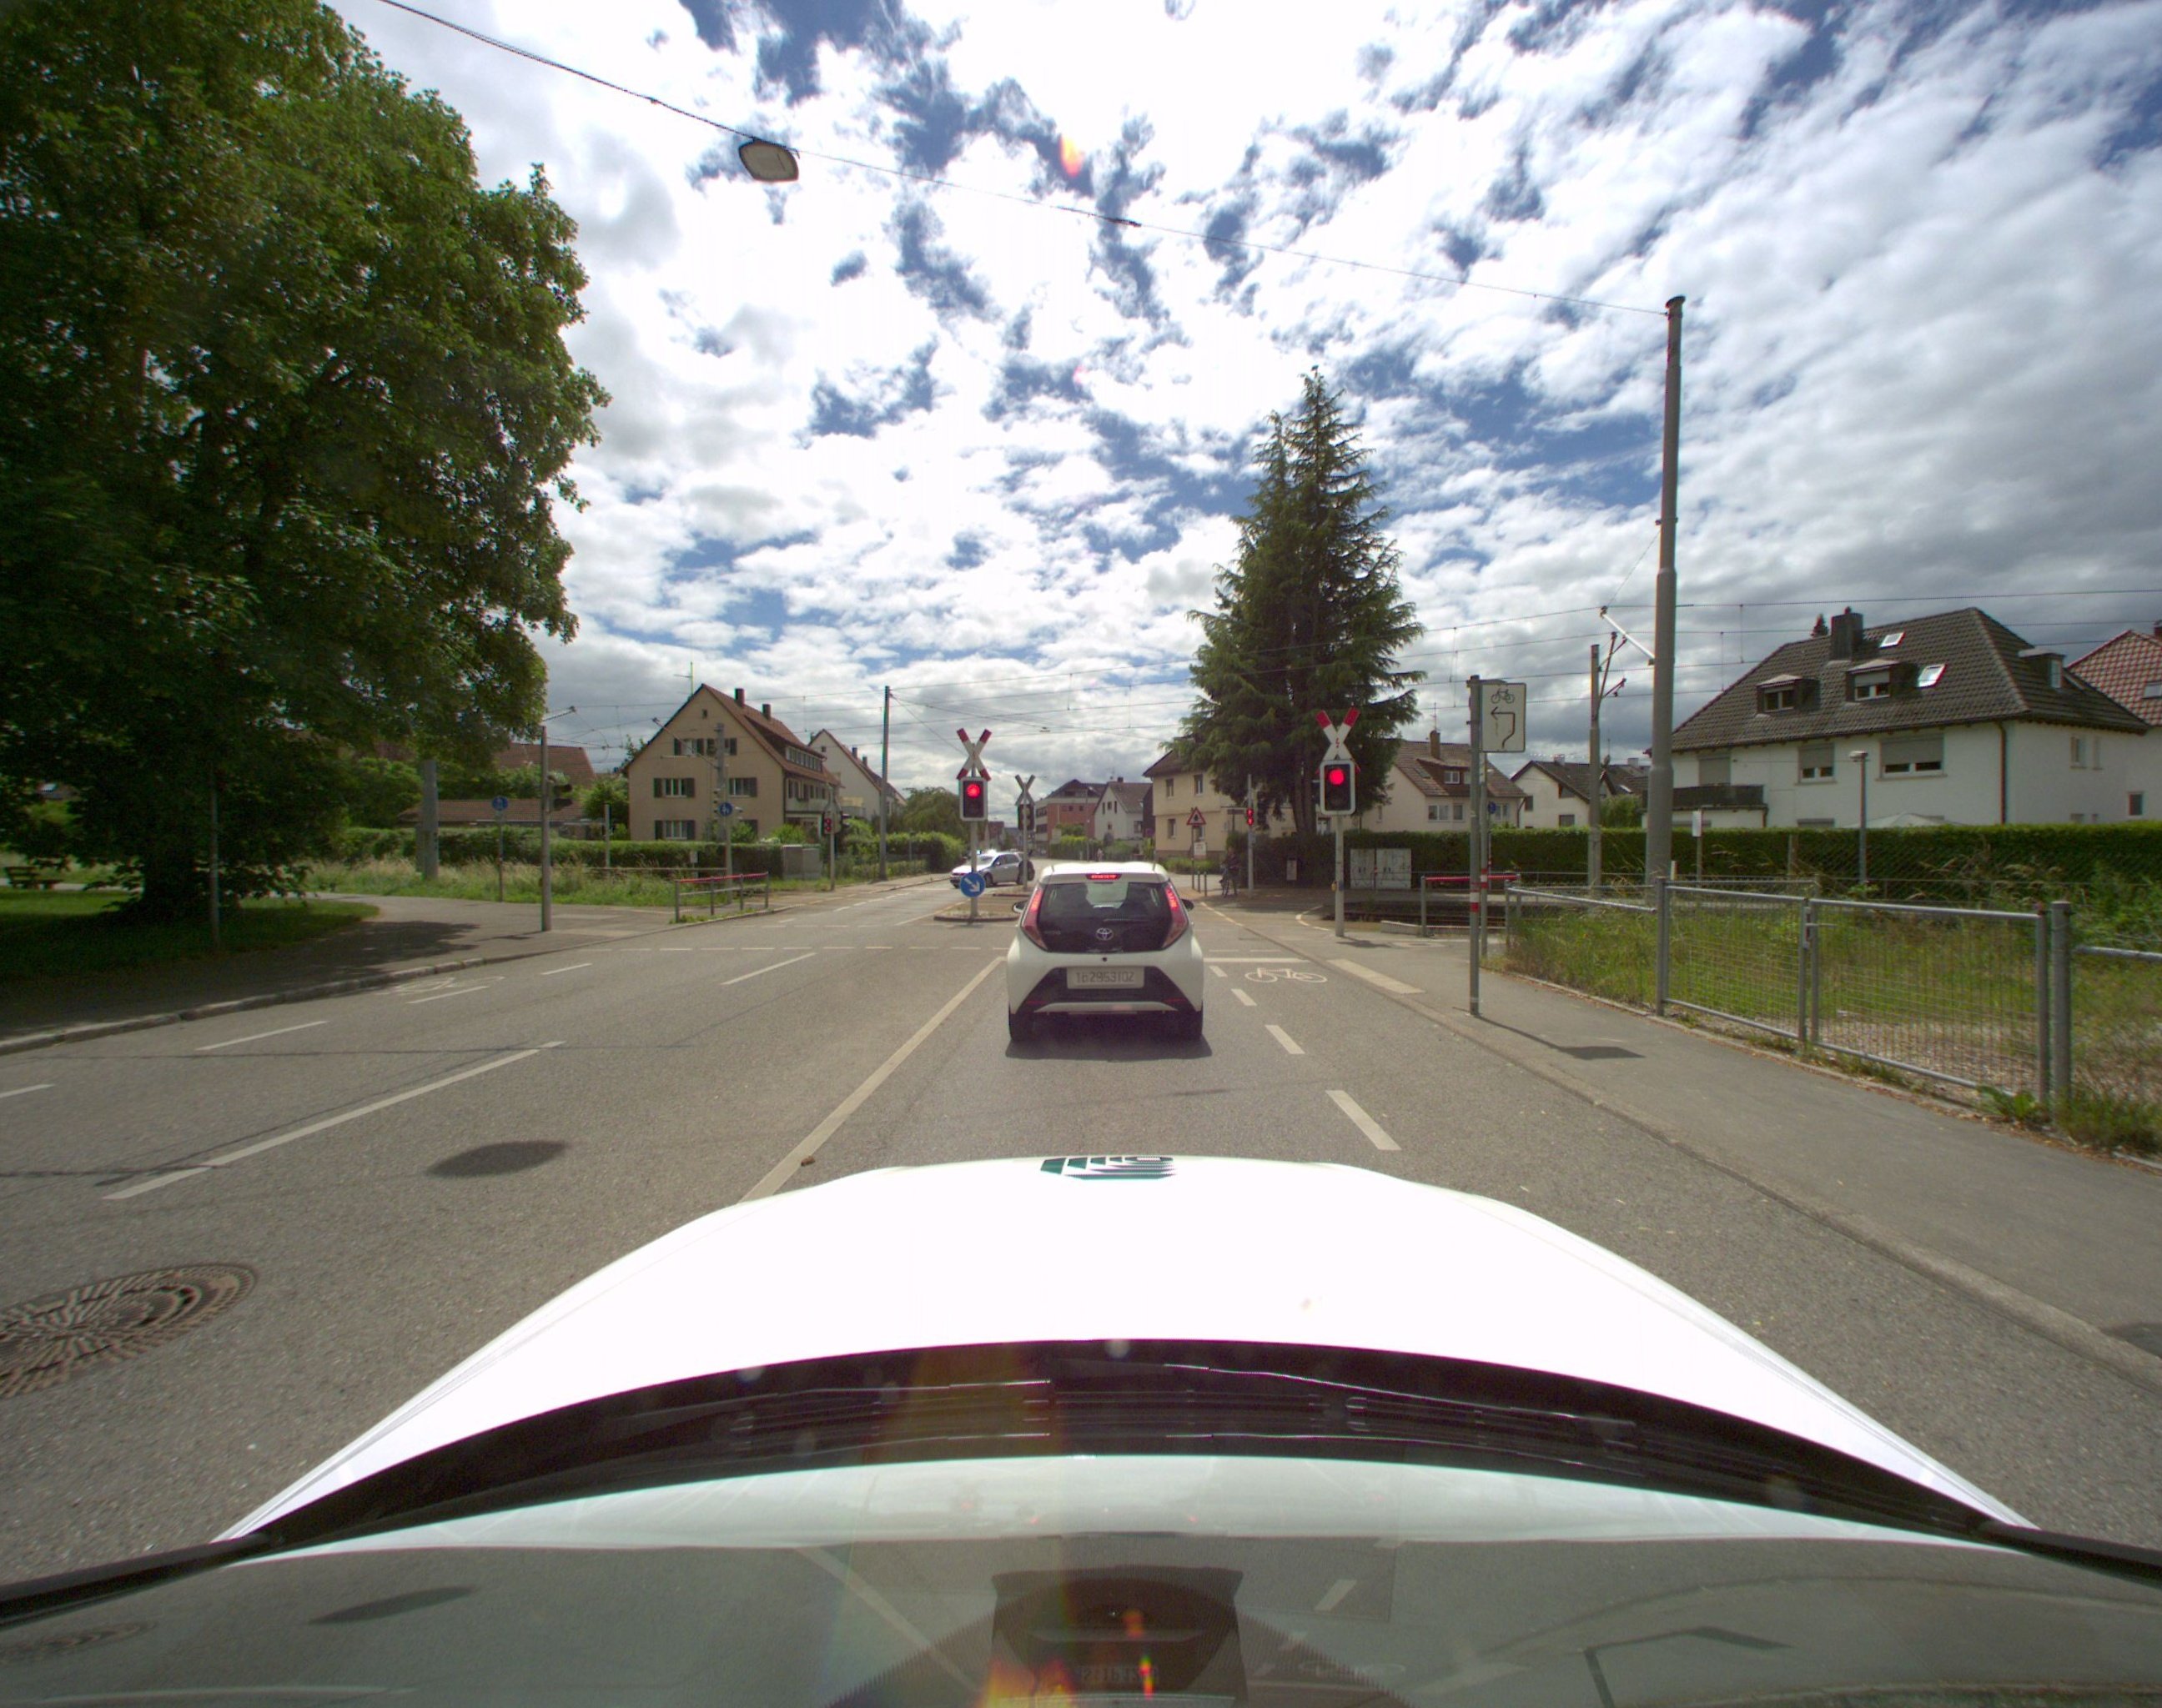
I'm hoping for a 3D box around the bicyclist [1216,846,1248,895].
[{"bbox_3d":[5.078,0.534,27.479,0.839,1.553,0.755,-3,2,-4],"label":"bicyclist"}]

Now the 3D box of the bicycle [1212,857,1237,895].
[{"bbox_3d":[4.867,0.727,27.715,0.456,1.172,1.477,-3,2,-4],"label":"bicycle"}]

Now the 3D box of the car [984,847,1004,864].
[{"bbox_3d":[-9.282,0.148,87.393,1.990,1.719,3.994,0,0,-4],"label":"car"}]

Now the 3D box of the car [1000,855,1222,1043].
[{"bbox_3d":[0.192,0.741,8.177,1.716,1.442,3.706,0,0,-2],"label":"car"}]

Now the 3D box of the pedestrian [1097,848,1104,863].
[{"bbox_3d":[2.161,0.168,90.209,0.723,1.576,0.804,0,0,2],"label":"pedestrian"}]

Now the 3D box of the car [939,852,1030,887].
[{"bbox_3d":[-4.197,0.659,36.097,1.887,1.441,4.124,0,0,30],"label":"car"}]
